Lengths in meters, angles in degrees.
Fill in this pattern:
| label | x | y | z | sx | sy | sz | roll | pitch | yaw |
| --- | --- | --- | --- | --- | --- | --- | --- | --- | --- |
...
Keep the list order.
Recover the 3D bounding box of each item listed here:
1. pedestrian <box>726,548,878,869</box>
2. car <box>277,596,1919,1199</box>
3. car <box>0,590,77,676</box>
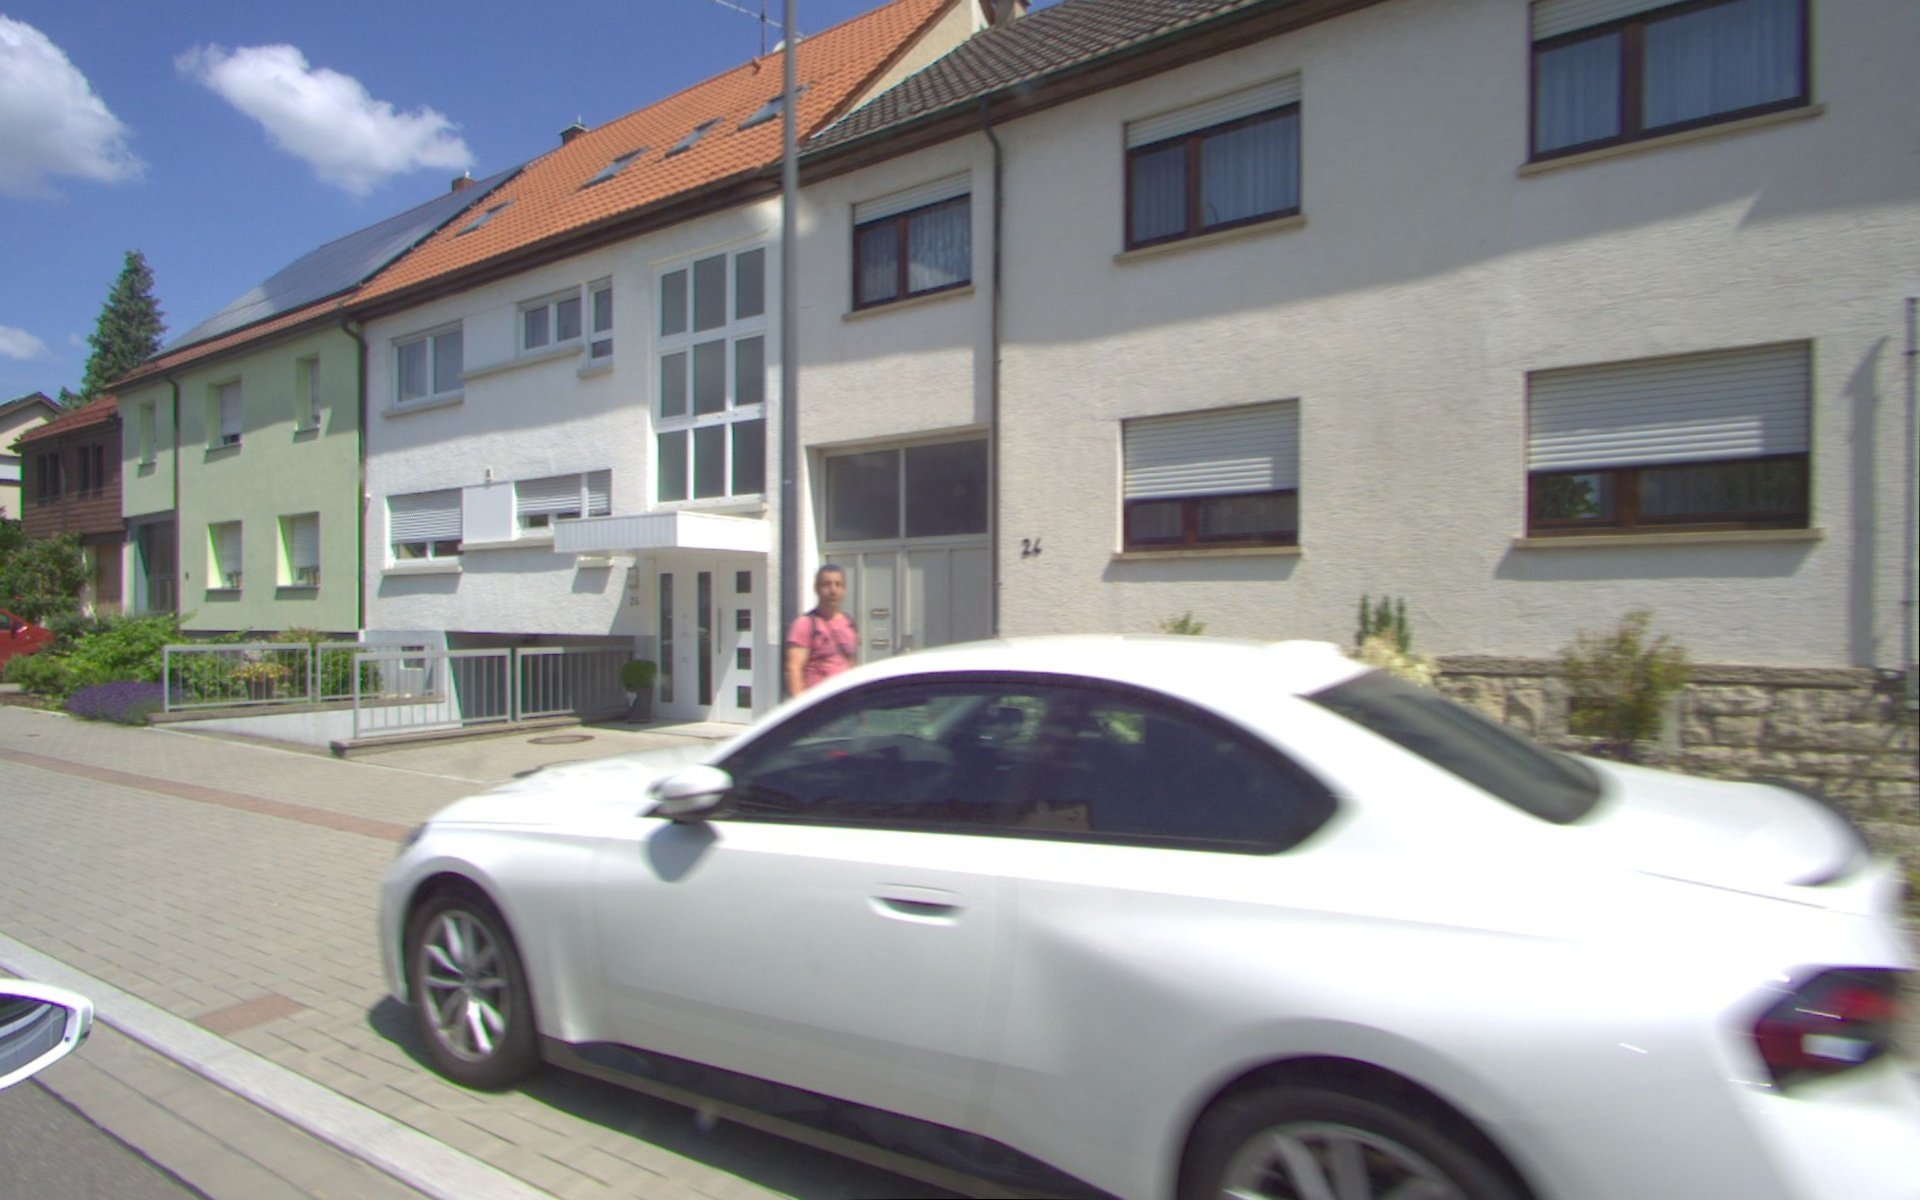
| label | x | y | z | sx | sy | sz | roll | pitch | yaw |
| --- | --- | --- | --- | --- | --- | --- | --- | --- | --- |
| pedestrian | -0.932 | 0.606 | 5.927 | 0.663 | 1.772 | 0.556 | -1 | 0 | 33 |
| car | -0.044 | 0.774 | 3.199 | 4.452 | 1.484 | 1.830 | -1 | -1 | 30 |
| car | -22.802 | 0.735 | 22.094 | 1.991 | 1.917 | 4.613 | -1 | -2 | 31 |
